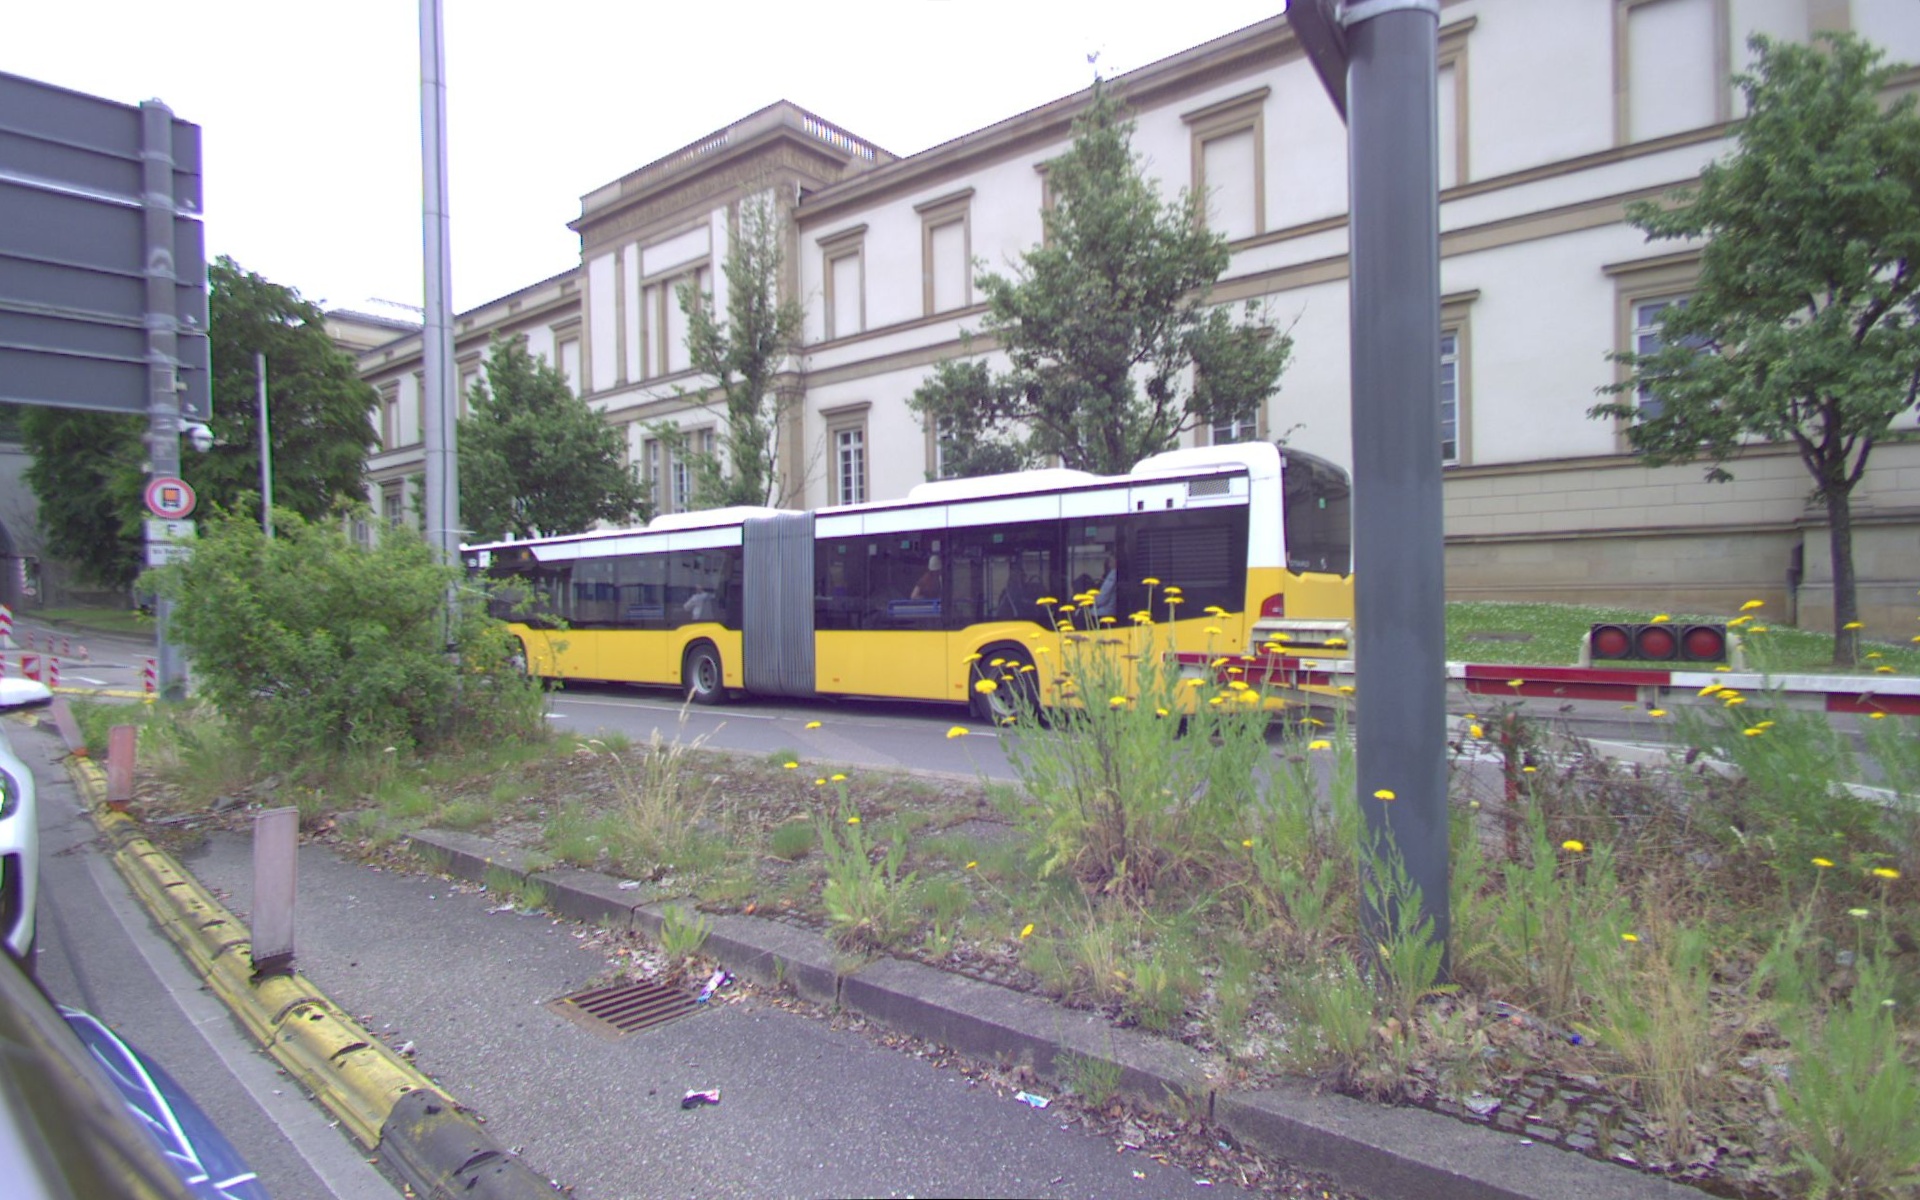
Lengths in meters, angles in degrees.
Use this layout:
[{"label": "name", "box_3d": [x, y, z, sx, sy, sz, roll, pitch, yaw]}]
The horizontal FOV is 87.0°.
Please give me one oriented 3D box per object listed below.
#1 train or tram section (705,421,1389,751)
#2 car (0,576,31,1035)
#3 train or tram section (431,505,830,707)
[{"label": "train or tram section", "box_3d": [0.468, -0.025, 13.538, 9.330, 3.094, 2.666, -2, -2, 41]}, {"label": "car", "box_3d": [-5.243, 0.727, 4.210, 3.911, 1.568, 1.733, -1, 0, 43]}, {"label": "train or tram section", "box_3d": [-6.721, 0.198, 19.495, 9.366, 3.094, 2.667, -2, -2, 39]}]
